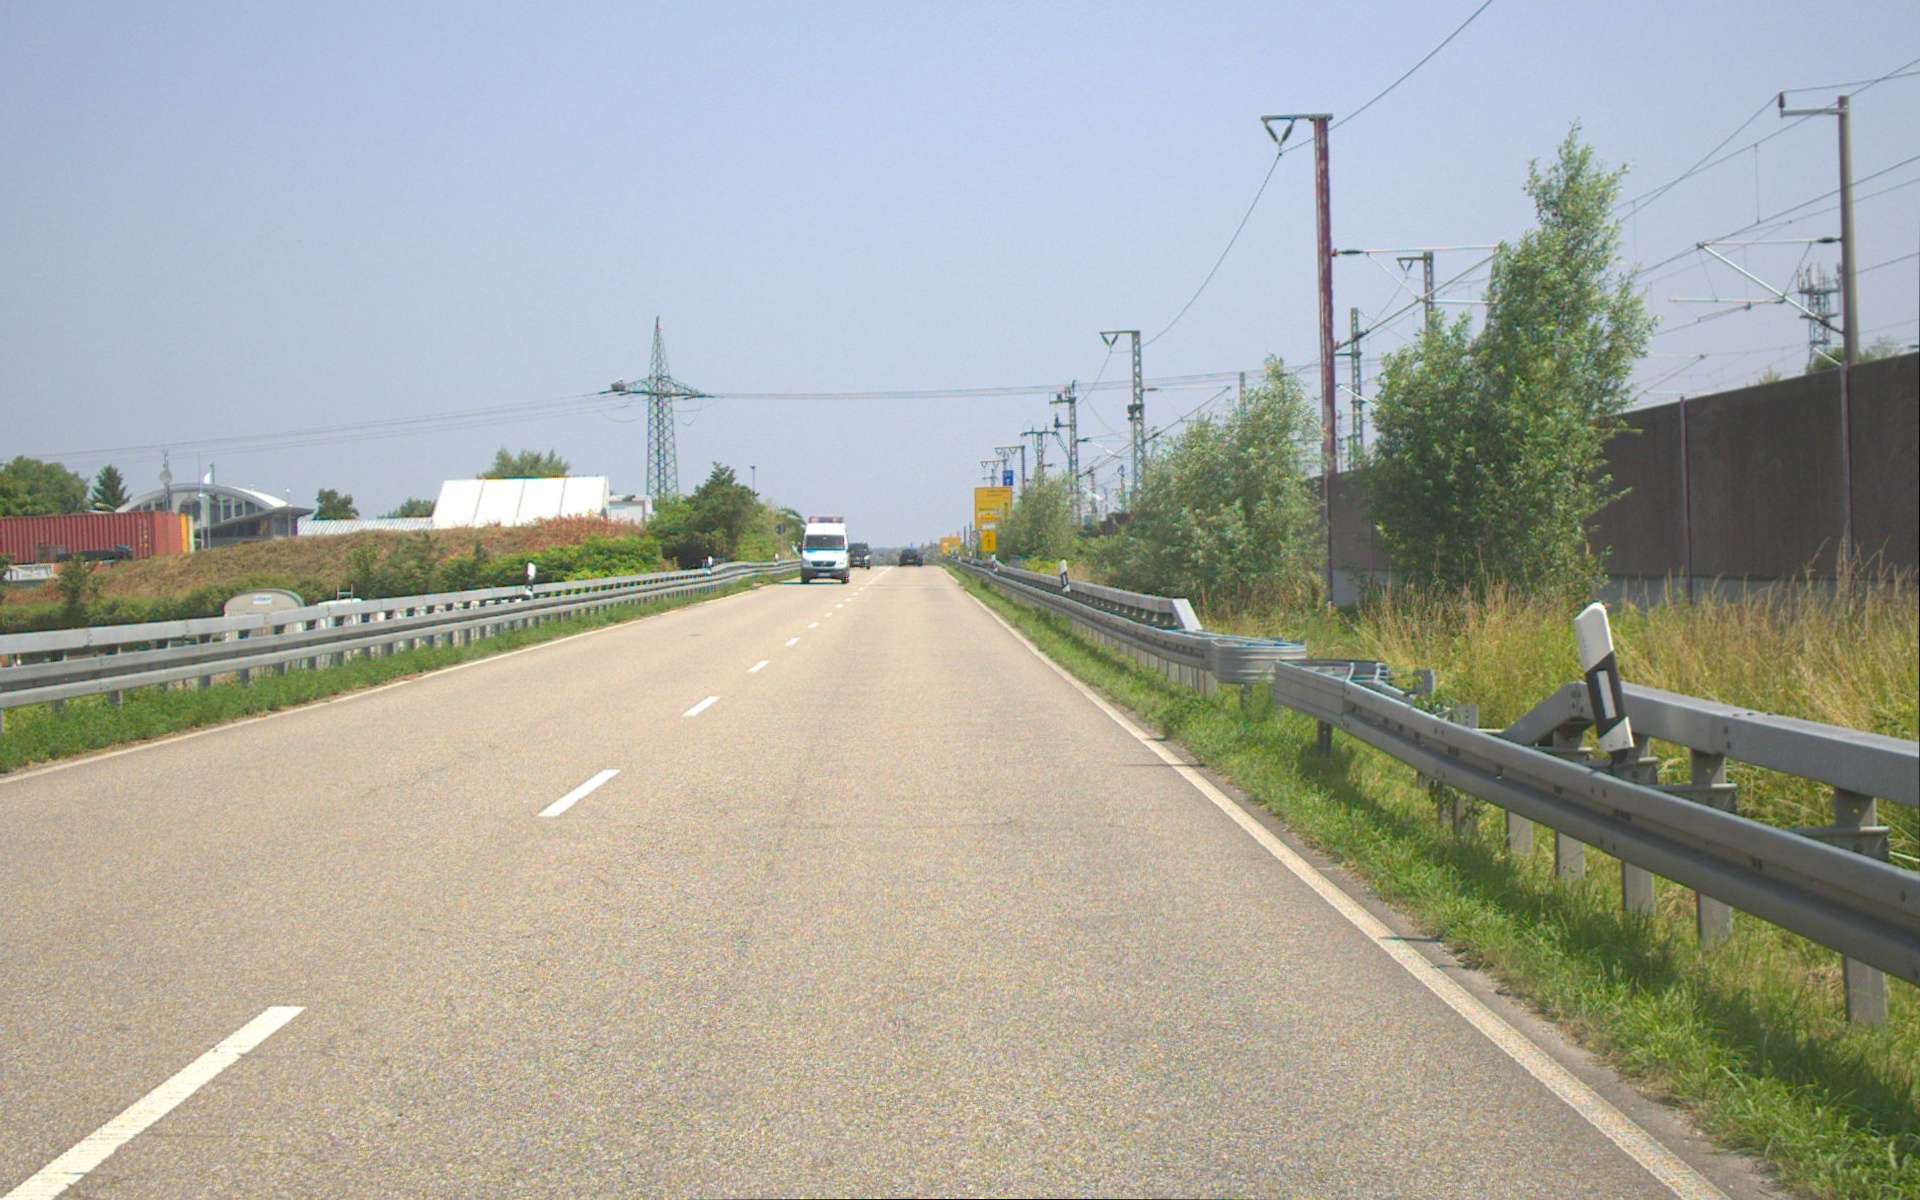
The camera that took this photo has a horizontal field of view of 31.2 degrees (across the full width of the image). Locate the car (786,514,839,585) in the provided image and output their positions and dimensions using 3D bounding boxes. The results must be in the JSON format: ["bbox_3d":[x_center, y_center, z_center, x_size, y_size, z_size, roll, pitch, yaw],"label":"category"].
[{"bbox_3d":[-6.300,-2.150,147.667,2.079,2.952,6.730,1,1,-1],"label":"car"}]
